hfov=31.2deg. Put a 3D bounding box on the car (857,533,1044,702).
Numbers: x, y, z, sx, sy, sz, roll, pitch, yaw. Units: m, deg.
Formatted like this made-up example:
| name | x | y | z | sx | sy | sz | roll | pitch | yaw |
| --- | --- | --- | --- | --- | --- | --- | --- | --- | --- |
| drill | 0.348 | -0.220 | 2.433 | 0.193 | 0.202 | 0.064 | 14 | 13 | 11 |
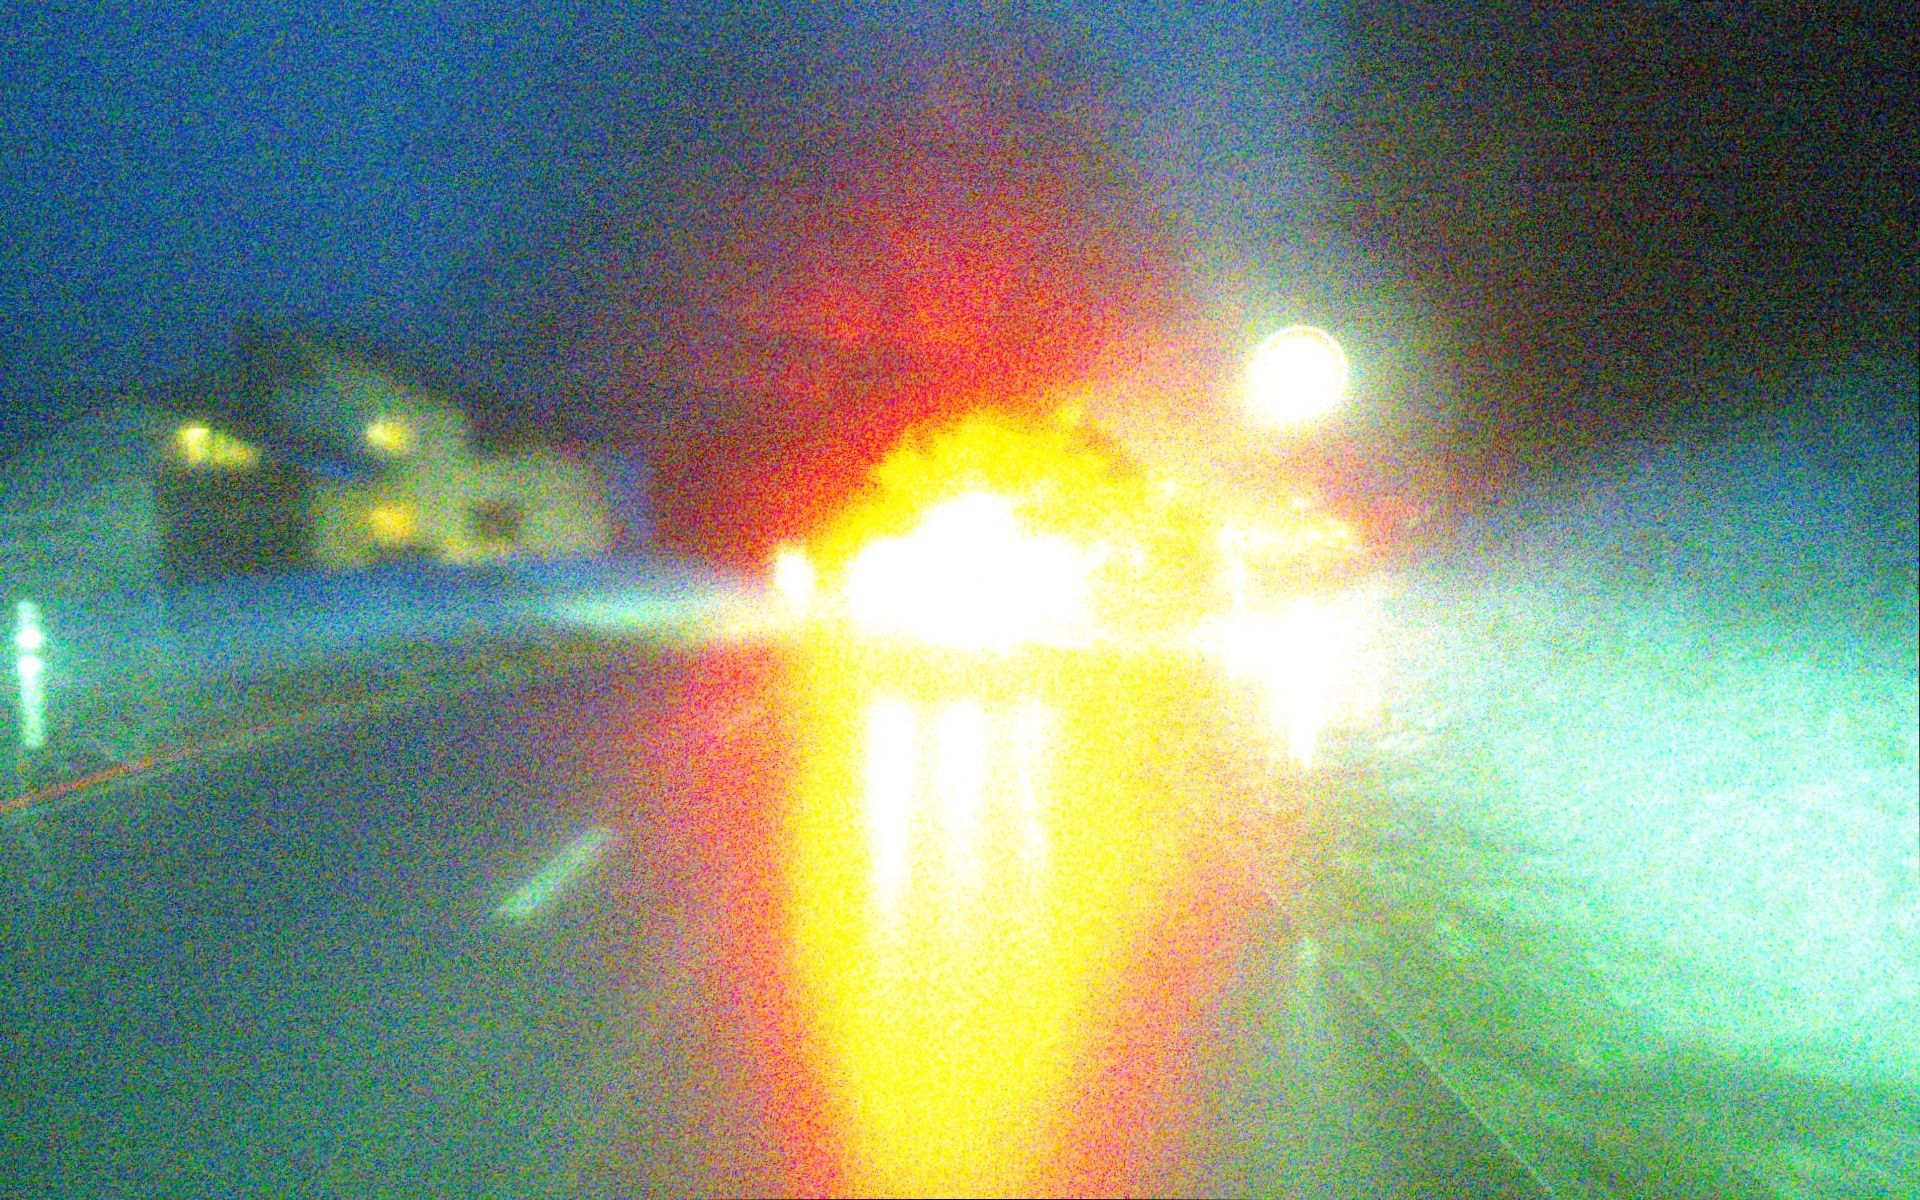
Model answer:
| name | x | y | z | sx | sy | sz | roll | pitch | yaw |
| --- | --- | --- | --- | --- | --- | --- | --- | --- | --- |
| car | -0.070 | 0.138 | 35.390 | 1.801 | 1.623 | 3.615 | -1 | 1 | 1 |
